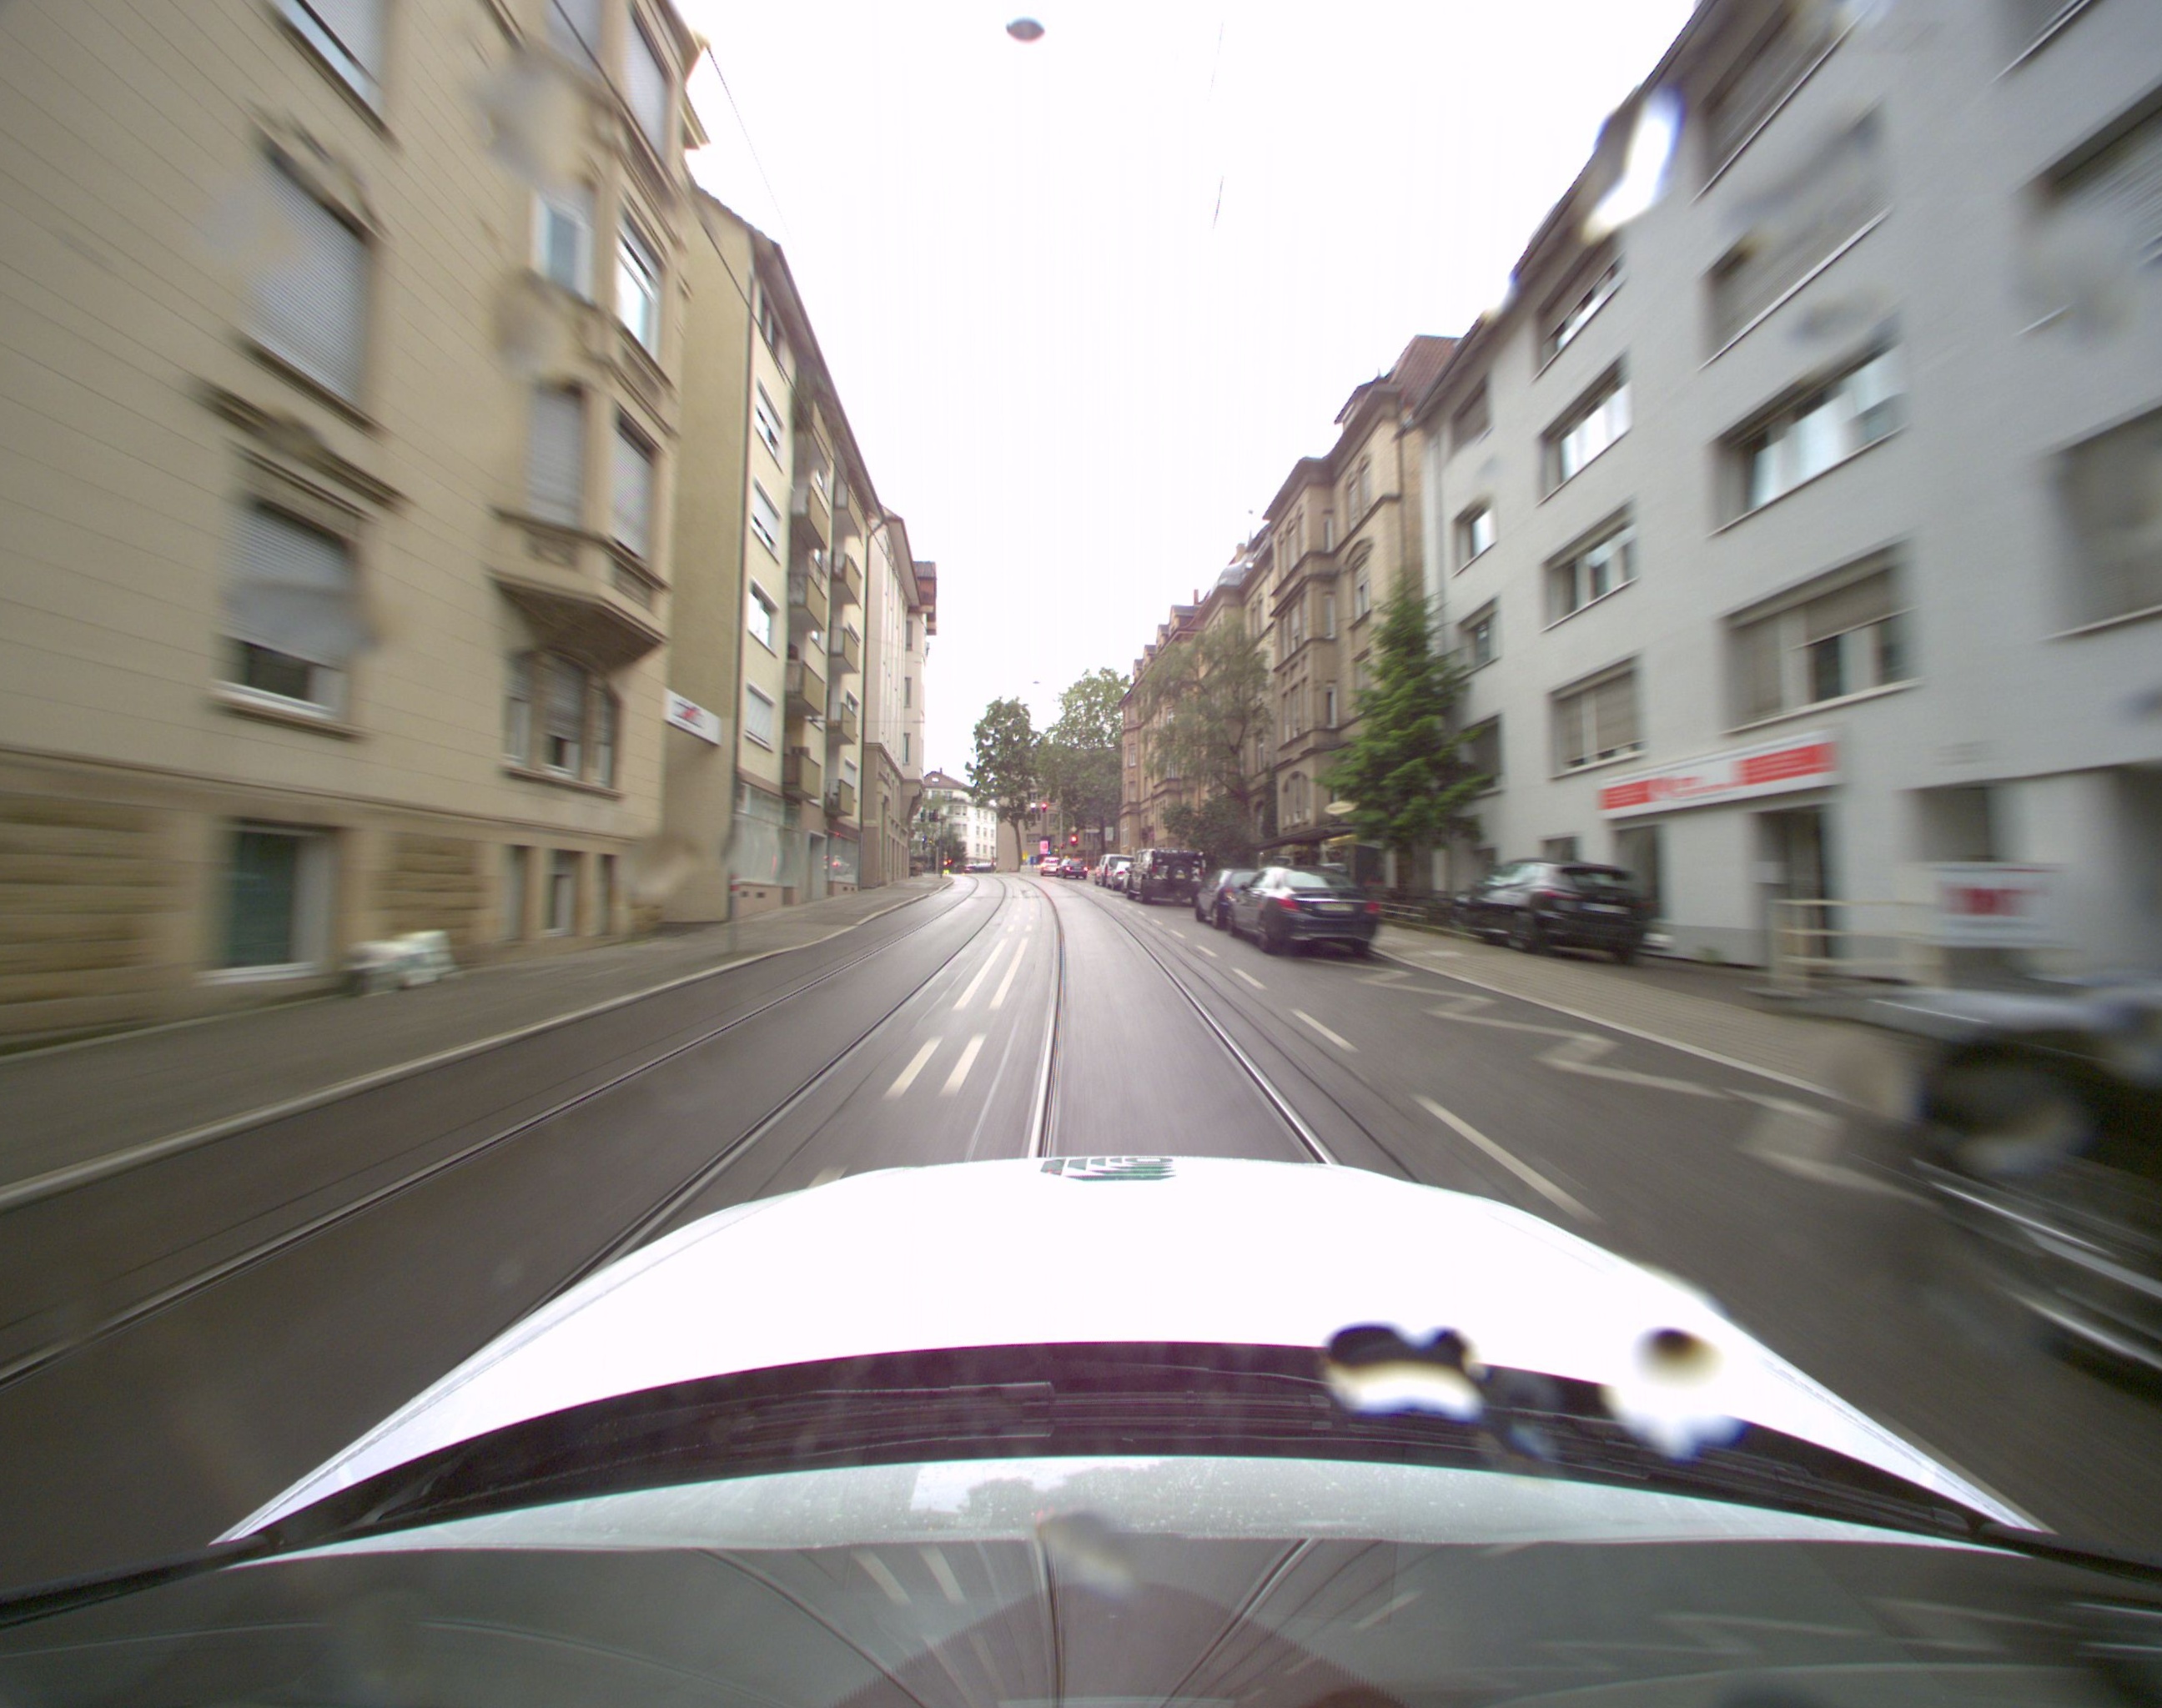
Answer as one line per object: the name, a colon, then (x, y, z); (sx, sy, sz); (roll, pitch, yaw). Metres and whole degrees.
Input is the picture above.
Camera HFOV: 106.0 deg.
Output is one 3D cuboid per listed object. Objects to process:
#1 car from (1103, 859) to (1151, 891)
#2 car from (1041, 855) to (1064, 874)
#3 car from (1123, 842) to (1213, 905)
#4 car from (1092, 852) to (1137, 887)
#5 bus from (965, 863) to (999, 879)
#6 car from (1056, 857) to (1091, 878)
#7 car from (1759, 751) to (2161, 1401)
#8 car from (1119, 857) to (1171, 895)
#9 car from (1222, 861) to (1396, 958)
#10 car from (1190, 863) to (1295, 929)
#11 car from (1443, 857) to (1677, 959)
car: (2.214, 1.002, 40.449); (1.746, 1.400, 4.470); (2, 0, -5)
car: (-2.346, 0.830, 65.420); (1.707, 1.456, 3.547); (1, 0, -4)
car: (2.994, 0.650, 29.329); (2.126, 2.014, 5.339); (2, 0, -6)
car: (1.818, 0.840, 45.427); (1.795, 1.765, 4.452); (2, 0, -6)
bus: (-18.363, 3.112, 151.755); (2.832, 2.861, 8.773); (-1, 0, 17)
car: (-0.584, 0.991, 59.546); (1.712, 1.415, 4.018); (1, 0, -13)
car: (3.989, 0.615, 1.197); (1.937, 1.795, 4.818); (1, -1, -1)
car: (2.737, 0.913, 35.313); (1.558, 1.546, 3.576); (2, 0, -7)
car: (3.872, 0.864, 14.700); (1.789, 1.437, 4.609); (1, 0, -1)
car: (3.713, 0.922, 19.293); (1.673, 1.338, 3.881); (1, 0, -1)
car: (7.954, 0.803, 14.033); (1.804, 1.426, 4.158); (2, 0, 4)
